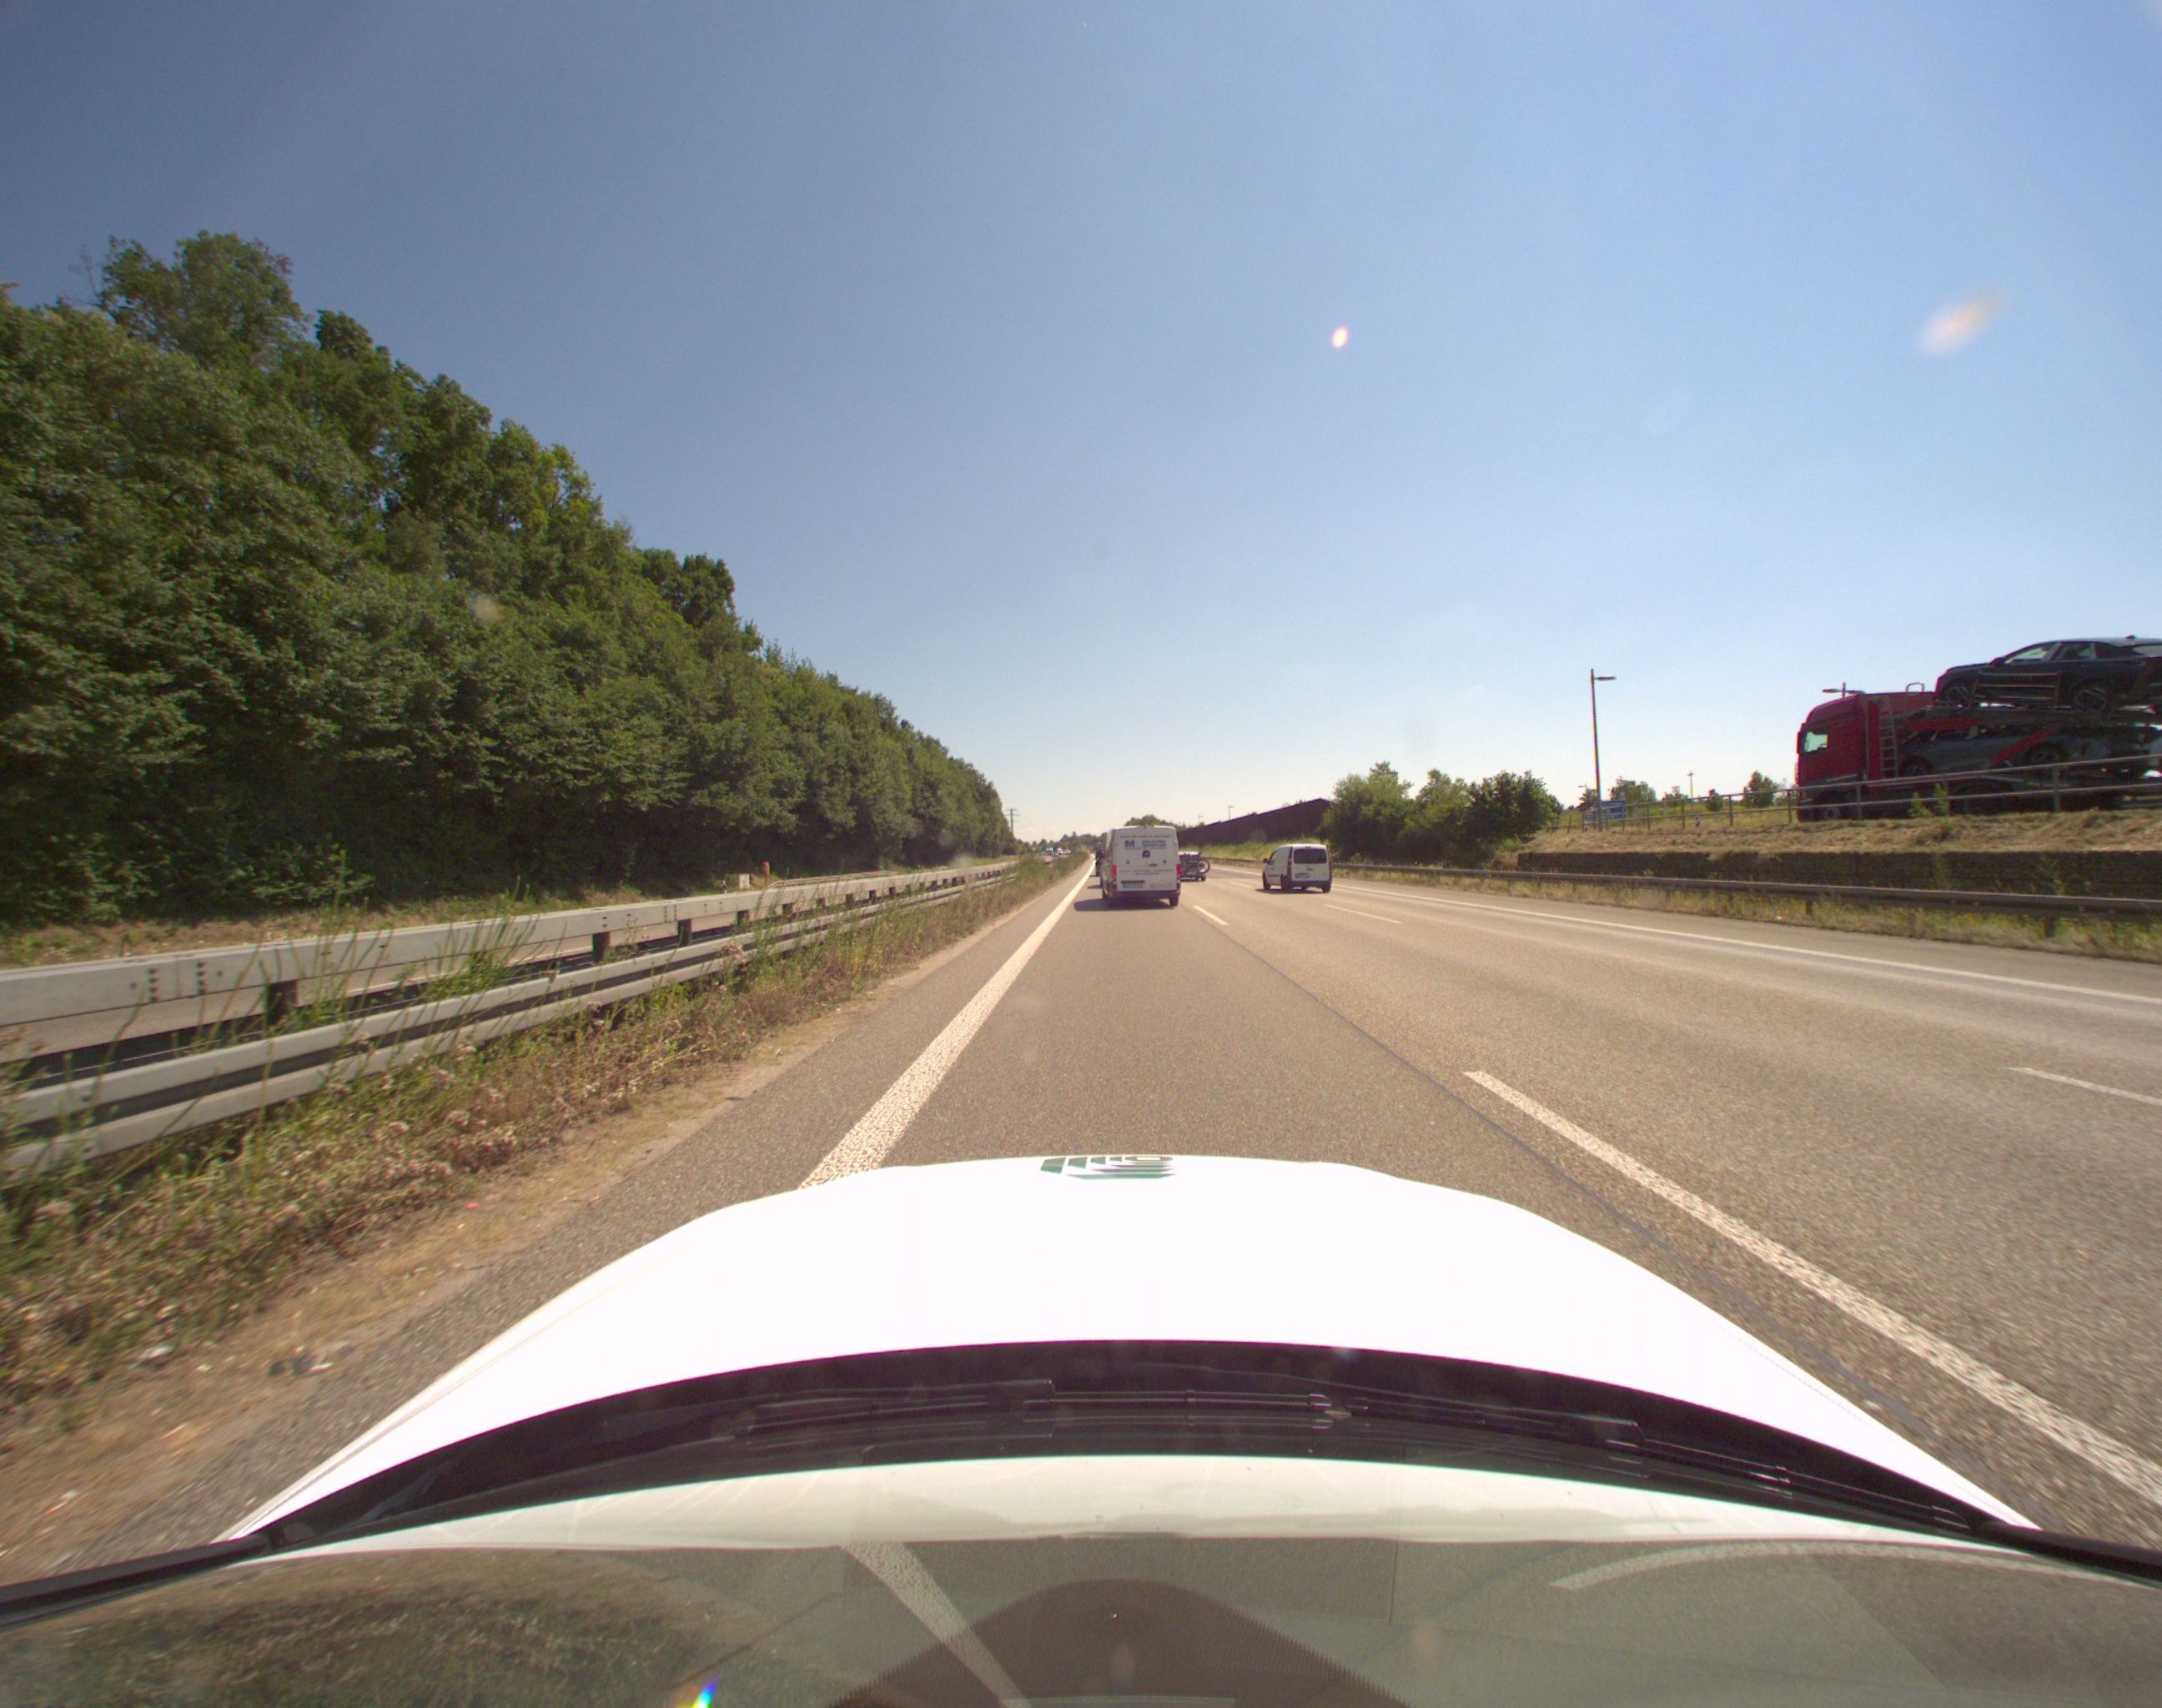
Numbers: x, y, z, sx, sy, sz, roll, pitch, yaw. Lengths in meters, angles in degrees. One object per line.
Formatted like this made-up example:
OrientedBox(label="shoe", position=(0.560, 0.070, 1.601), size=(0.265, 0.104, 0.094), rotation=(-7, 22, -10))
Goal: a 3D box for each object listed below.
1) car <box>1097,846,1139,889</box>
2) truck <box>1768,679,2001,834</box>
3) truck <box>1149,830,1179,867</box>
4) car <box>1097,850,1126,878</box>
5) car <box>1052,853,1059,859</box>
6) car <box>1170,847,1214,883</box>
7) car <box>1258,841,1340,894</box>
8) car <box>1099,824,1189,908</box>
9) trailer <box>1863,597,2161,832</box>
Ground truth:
OrientedBox(label="car", position=(1.708, 0.592, 36.990), size=(1.737, 1.764, 4.092), rotation=(-2, -1, 3))
OrientedBox(label="truck", position=(22.218, -2.549, 22.817), size=(2.592, 3.827, 4.001), rotation=(0, -1, 2))
OrientedBox(label="truck", position=(11.803, -0.651, 116.604), size=(3.772, 5.000, 12.529), rotation=(0, -1, 4))
OrientedBox(label="car", position=(2.031, 0.671, 53.830), size=(1.737, 1.701, 4.092), rotation=(-2, -1, 4))
OrientedBox(label="car", position=(-7.698, 0.616, 245.267), size=(1.986, 1.519, 4.723), rotation=(-3, 0, 1))
OrientedBox(label="car", position=(5.796, 0.570, 42.969), size=(1.967, 1.733, 4.092), rotation=(-2, -1, 3))
OrientedBox(label="car", position=(8.236, 0.501, 31.210), size=(1.944, 1.838, 4.177), rotation=(-2, -1, -1))
OrientedBox(label="car", position=(1.763, 0.353, 24.585), size=(2.176, 2.254, 5.359), rotation=(0, -1, -1))
OrientedBox(label="trailer", position=(21.837, -2.812, 12.468), size=(2.595, 4.258, 18.429), rotation=(0, -1, 2))
